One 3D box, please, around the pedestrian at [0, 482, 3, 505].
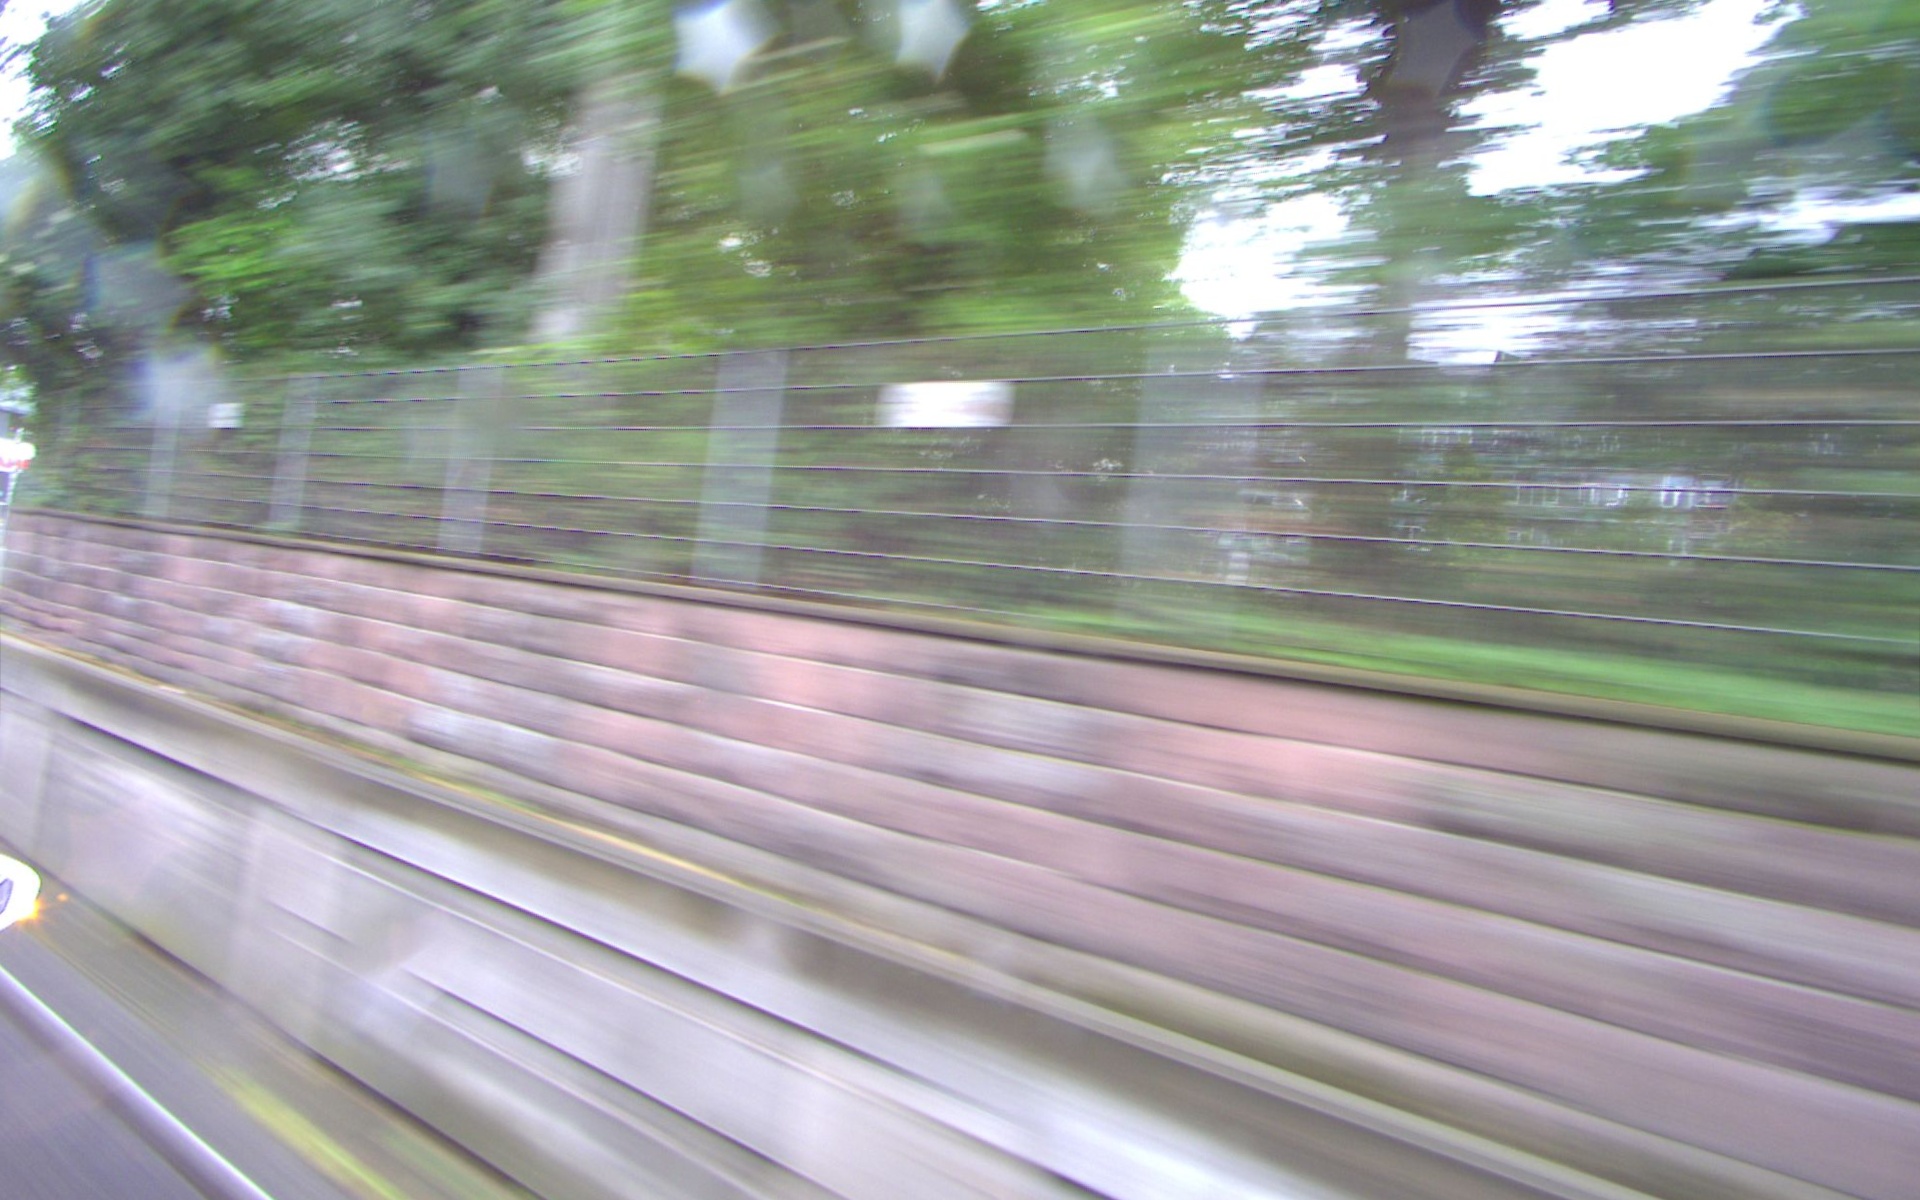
[{"bbox_3d":[-48.920,-5.034,50.608,0.709,1.937,0.695,6,0,-20],"label":"pedestrian"}]
